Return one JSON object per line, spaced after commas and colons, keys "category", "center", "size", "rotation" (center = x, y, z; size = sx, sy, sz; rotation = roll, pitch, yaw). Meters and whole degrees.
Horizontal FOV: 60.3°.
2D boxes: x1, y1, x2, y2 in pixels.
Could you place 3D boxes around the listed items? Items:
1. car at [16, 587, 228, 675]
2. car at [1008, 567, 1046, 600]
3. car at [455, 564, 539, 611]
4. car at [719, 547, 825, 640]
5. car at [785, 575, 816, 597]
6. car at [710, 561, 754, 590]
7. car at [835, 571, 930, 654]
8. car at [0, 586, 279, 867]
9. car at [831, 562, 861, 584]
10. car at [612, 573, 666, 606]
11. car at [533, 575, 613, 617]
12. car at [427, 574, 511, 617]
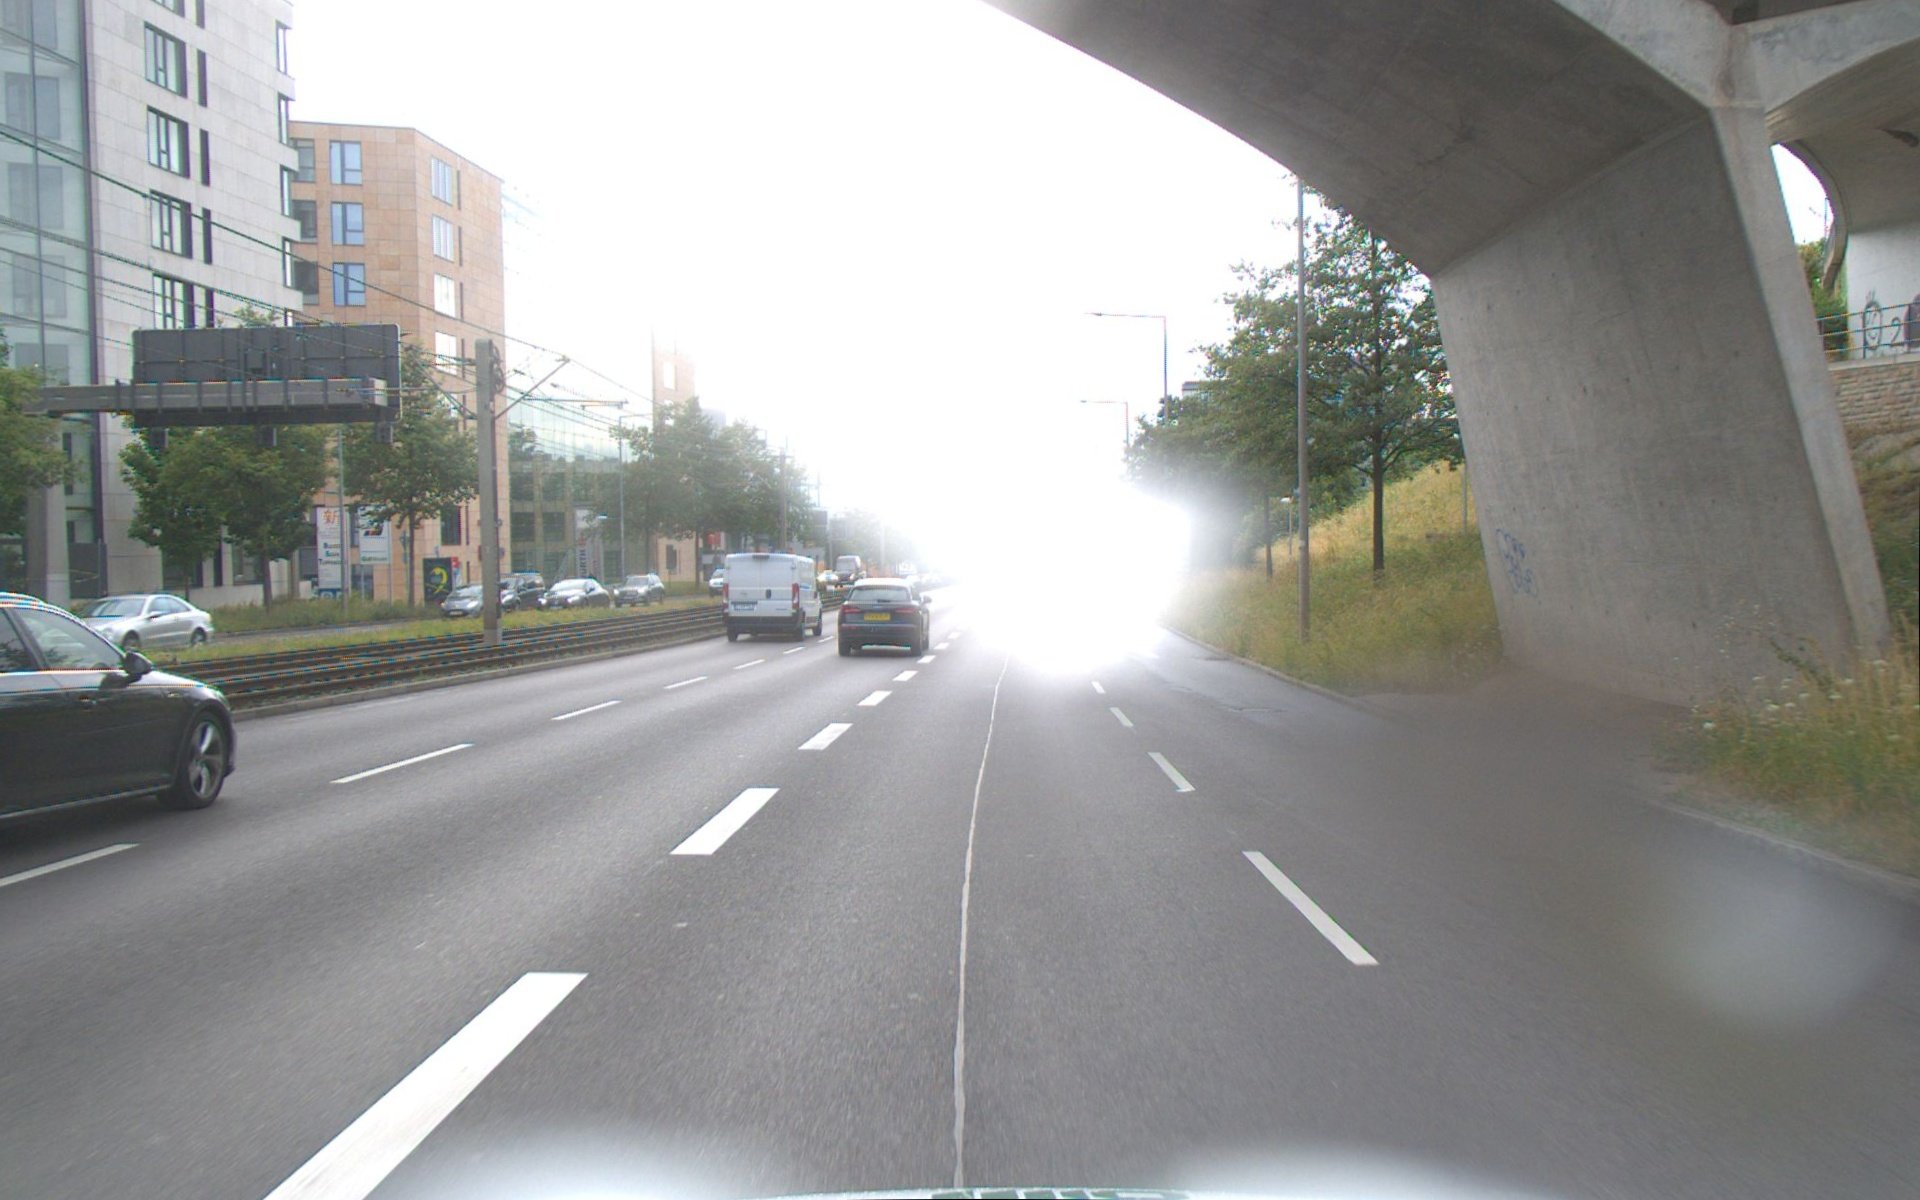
{"category": "car", "center": [-17.326, 0.583, 34.489], "size": [1.727, 1.625, 4.794], "rotation": [1, 1, 3]}
{"category": "car", "center": [3.400, -0.825, 84.698], "size": [1.752, 1.618, 4.000], "rotation": [-1, 1, 0]}
{"category": "car", "center": [-20.759, -0.601, 74.381], "size": [2.015, 1.986, 5.135], "rotation": [1, 1, 3]}
{"category": "car", "center": [-4.969, -0.222, 44.336], "size": [2.221, 2.324, 4.760], "rotation": [1, 1, 1]}
{"category": "car", "center": [-13.460, -1.205, 139.989], "size": [1.897, 1.792, 4.812], "rotation": [1, 1, 3]}
{"category": "car", "center": [-14.918, -1.629, 108.549], "size": [1.897, 1.792, 5.065], "rotation": [1, 1, 3]}
{"category": "car", "center": [-1.689, 0.279, 37.196], "size": [1.883, 1.740, 4.098], "rotation": [1, 0, 0]}
{"category": "car", "center": [-5.780, 0.643, 9.303], "size": [1.749, 1.438, 4.807], "rotation": [1, 0, 2]}
{"category": "car", "center": [-9.682, -2.297, 141.131], "size": [1.897, 1.792, 4.812], "rotation": [1, 1, 3]}
{"category": "car", "center": [-17.080, -0.586, 88.218], "size": [1.772, 1.634, 4.493], "rotation": [1, 1, 3]}
{"category": "car", "center": [-15.536, -0.192, 66.656], "size": [1.772, 1.560, 4.872], "rotation": [1, 1, 3]}
{"category": "car", "center": [-19.128, -0.195, 64.606], "size": [1.772, 1.560, 4.277], "rotation": [1, 1, 3]}
